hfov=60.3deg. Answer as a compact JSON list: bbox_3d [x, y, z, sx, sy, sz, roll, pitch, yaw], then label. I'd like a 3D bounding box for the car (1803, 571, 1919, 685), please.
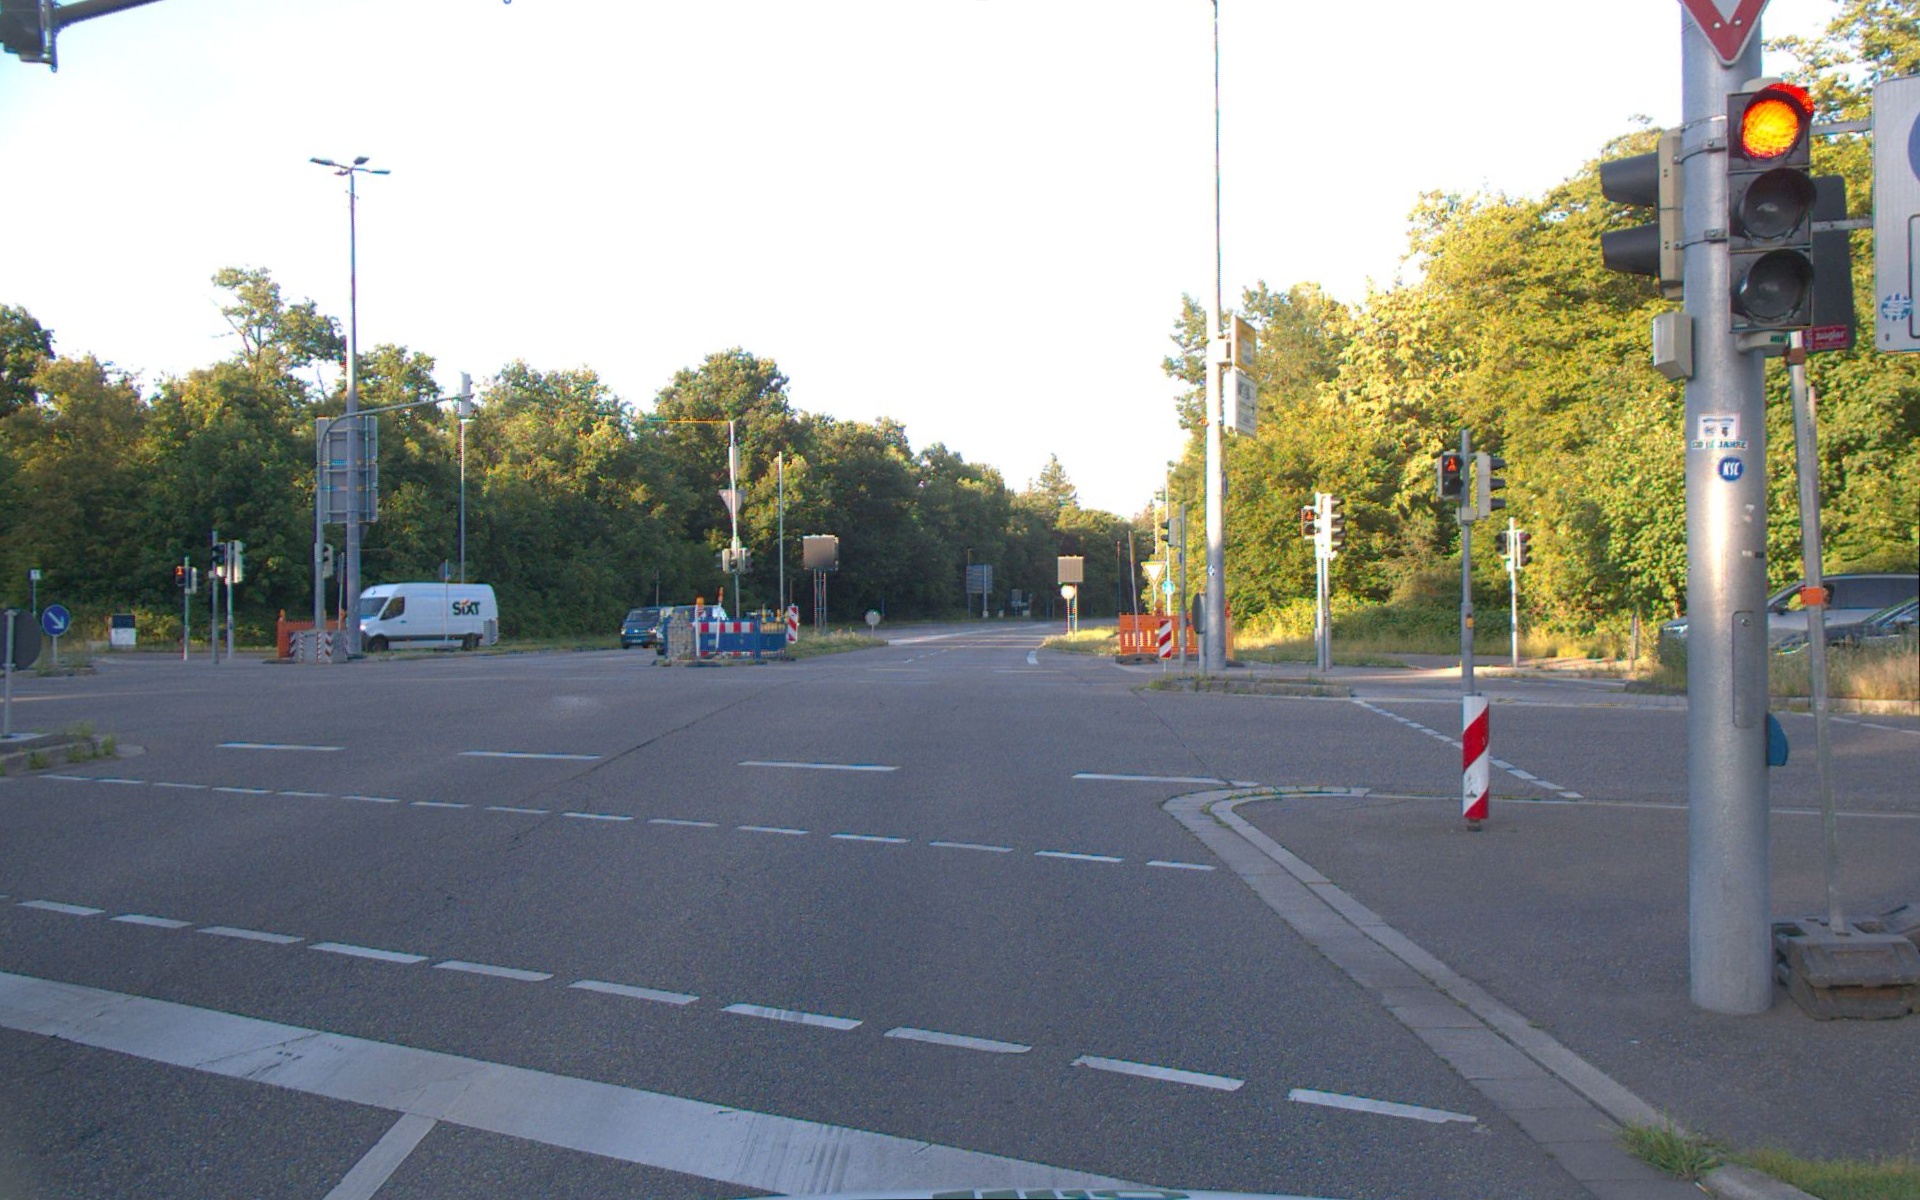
[{"bbox_3d":[13.730,0.365,22.588,3.783,1.515,1.771,0,0,22],"label":"car"}]

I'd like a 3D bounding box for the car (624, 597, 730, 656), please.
[{"bbox_3d":[-8.868,0.813,52.145,1.951,1.668,4.004,-2,1,11],"label":"car"}]

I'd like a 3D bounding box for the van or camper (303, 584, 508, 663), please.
[{"bbox_3d":[-19.945,0.785,59.966,2.829,2.699,7.114,0,0,27],"label":"van or camper"}]

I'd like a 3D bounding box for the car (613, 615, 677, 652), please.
[{"bbox_3d":[-15.044,1.571,79.179,1.951,1.668,4.003,0,0,5],"label":"car"}]

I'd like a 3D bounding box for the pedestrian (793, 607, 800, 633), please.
[{"bbox_3d":[-12.912,1.570,130.547,0.511,2.049,0.600,1,-1,-1],"label":"pedestrian"}]

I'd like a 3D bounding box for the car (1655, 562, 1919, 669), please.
[{"bbox_3d":[13.745,0.245,26.490,4.716,1.626,2.000,-1,0,21],"label":"car"}]
